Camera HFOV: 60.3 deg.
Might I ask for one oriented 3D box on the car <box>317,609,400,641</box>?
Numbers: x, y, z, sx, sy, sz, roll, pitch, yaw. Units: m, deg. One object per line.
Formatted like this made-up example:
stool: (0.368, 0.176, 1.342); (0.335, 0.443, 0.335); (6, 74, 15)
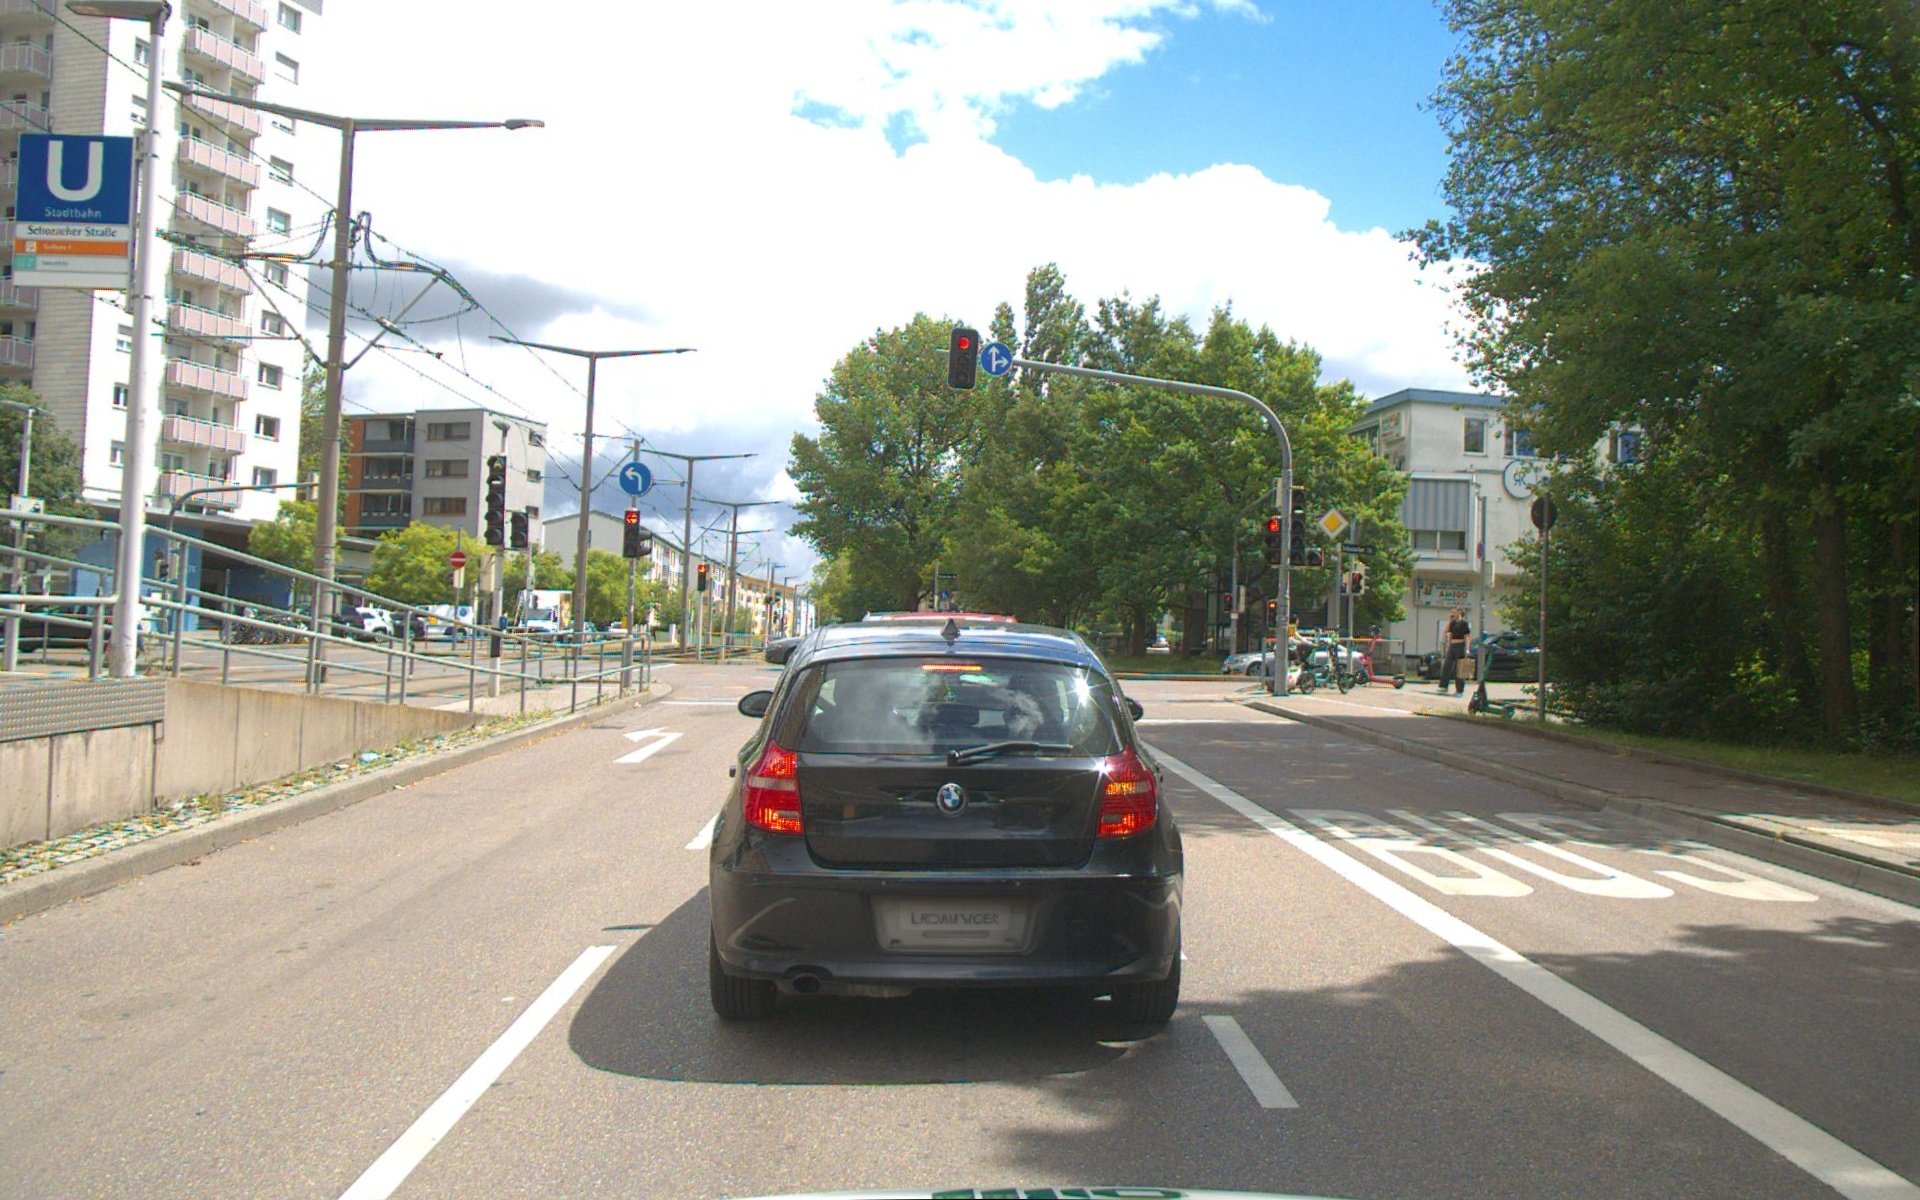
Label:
car: (-29.384, 1.211, 80.822); (3.537, 1.488, 1.613); (1, 0, -9)

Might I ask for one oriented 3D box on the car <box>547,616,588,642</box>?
car: (-26.063, 1.934, 109.835); (1.927, 1.624, 3.997); (1, 0, -3)

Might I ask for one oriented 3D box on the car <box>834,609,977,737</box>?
car: (-0.687, 0.850, 20.762); (1.621, 1.443, 3.515); (1, 0, -2)

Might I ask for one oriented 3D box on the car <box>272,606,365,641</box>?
car: (-28.392, 1.037, 73.225); (3.537, 1.488, 1.613); (1, 0, -9)

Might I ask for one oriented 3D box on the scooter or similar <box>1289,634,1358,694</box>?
scooter or similar: (6.824, 1.182, 31.005); (0.403, 1.069, 1.774); (1, 0, 43)

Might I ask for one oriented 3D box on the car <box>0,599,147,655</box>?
car: (-24.664, 0.750, 45.780); (3.537, 1.488, 1.613); (1, 0, -9)

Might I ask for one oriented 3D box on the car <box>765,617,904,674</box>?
car: (-3.679, 1.323, 48.191); (3.913, 1.553, 1.672); (1, 0, -9)

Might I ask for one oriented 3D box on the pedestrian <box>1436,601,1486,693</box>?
pedestrian: (10.325, 0.968, 34.100); (0.746, 1.821, 0.567); (4, -1, 32)

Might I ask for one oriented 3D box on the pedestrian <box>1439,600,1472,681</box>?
pedestrian: (11.459, 0.937, 38.223); (0.600, 1.821, 0.569); (4, -1, 18)

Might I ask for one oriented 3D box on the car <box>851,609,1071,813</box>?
car: (0.008, 0.809, 13.681); (1.562, 1.443, 3.516); (1, 0, 0)

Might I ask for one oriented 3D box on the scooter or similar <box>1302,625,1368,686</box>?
scooter or similar: (7.543, 1.118, 33.246); (1.267, 1.210, 0.383); (1, -1, -17)

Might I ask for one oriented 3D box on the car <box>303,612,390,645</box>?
car: (-28.781, 1.349, 77.605); (3.537, 1.488, 1.613); (1, 0, -9)

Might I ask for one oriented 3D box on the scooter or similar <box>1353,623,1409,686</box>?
scooter or similar: (8.681, 1.129, 34.098); (1.087, 1.280, 0.331); (1, -1, -13)

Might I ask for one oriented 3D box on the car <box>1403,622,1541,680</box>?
car: (15.013, 1.481, 48.582); (3.515, 1.629, 1.706); (1, -1, -13)

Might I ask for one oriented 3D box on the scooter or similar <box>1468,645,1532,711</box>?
scooter or similar: (9.430, 1.363, 28.899); (1.133, 1.118, 0.329); (1, -1, -25)

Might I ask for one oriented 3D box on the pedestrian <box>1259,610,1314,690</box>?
pedestrian: (6.139, 0.925, 31.108); (0.848, 1.468, 0.798); (0, -1, 25)

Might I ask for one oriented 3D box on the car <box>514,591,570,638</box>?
car: (-24.598, 0.840, 97.561); (2.096, 2.686, 5.356); (1, 0, -2)

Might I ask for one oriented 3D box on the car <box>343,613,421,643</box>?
car: (-29.534, 1.409, 84.589); (3.537, 1.488, 1.613); (1, 0, -9)

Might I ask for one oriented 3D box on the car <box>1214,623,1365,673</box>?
car: (10.132, 1.471, 50.956); (4.243, 1.419, 1.709); (1, 0, -9)

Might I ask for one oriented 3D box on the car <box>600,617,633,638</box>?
car: (-26.891, 2.143, 129.666); (1.927, 1.624, 3.997); (1, 0, -3)

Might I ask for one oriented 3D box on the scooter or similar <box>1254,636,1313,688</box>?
scooter or similar: (6.246, 1.194, 31.937); (1.102, 0.974, 0.299); (1, -1, -17)

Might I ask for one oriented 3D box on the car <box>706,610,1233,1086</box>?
car: (0.062, 0.780, 6.904); (1.620, 1.443, 3.517); (1, 0, 1)

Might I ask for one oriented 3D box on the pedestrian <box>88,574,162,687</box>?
pedestrian: (-13.153, 0.472, 26.049); (0.843, 1.726, 0.687); (1, -1, 34)
